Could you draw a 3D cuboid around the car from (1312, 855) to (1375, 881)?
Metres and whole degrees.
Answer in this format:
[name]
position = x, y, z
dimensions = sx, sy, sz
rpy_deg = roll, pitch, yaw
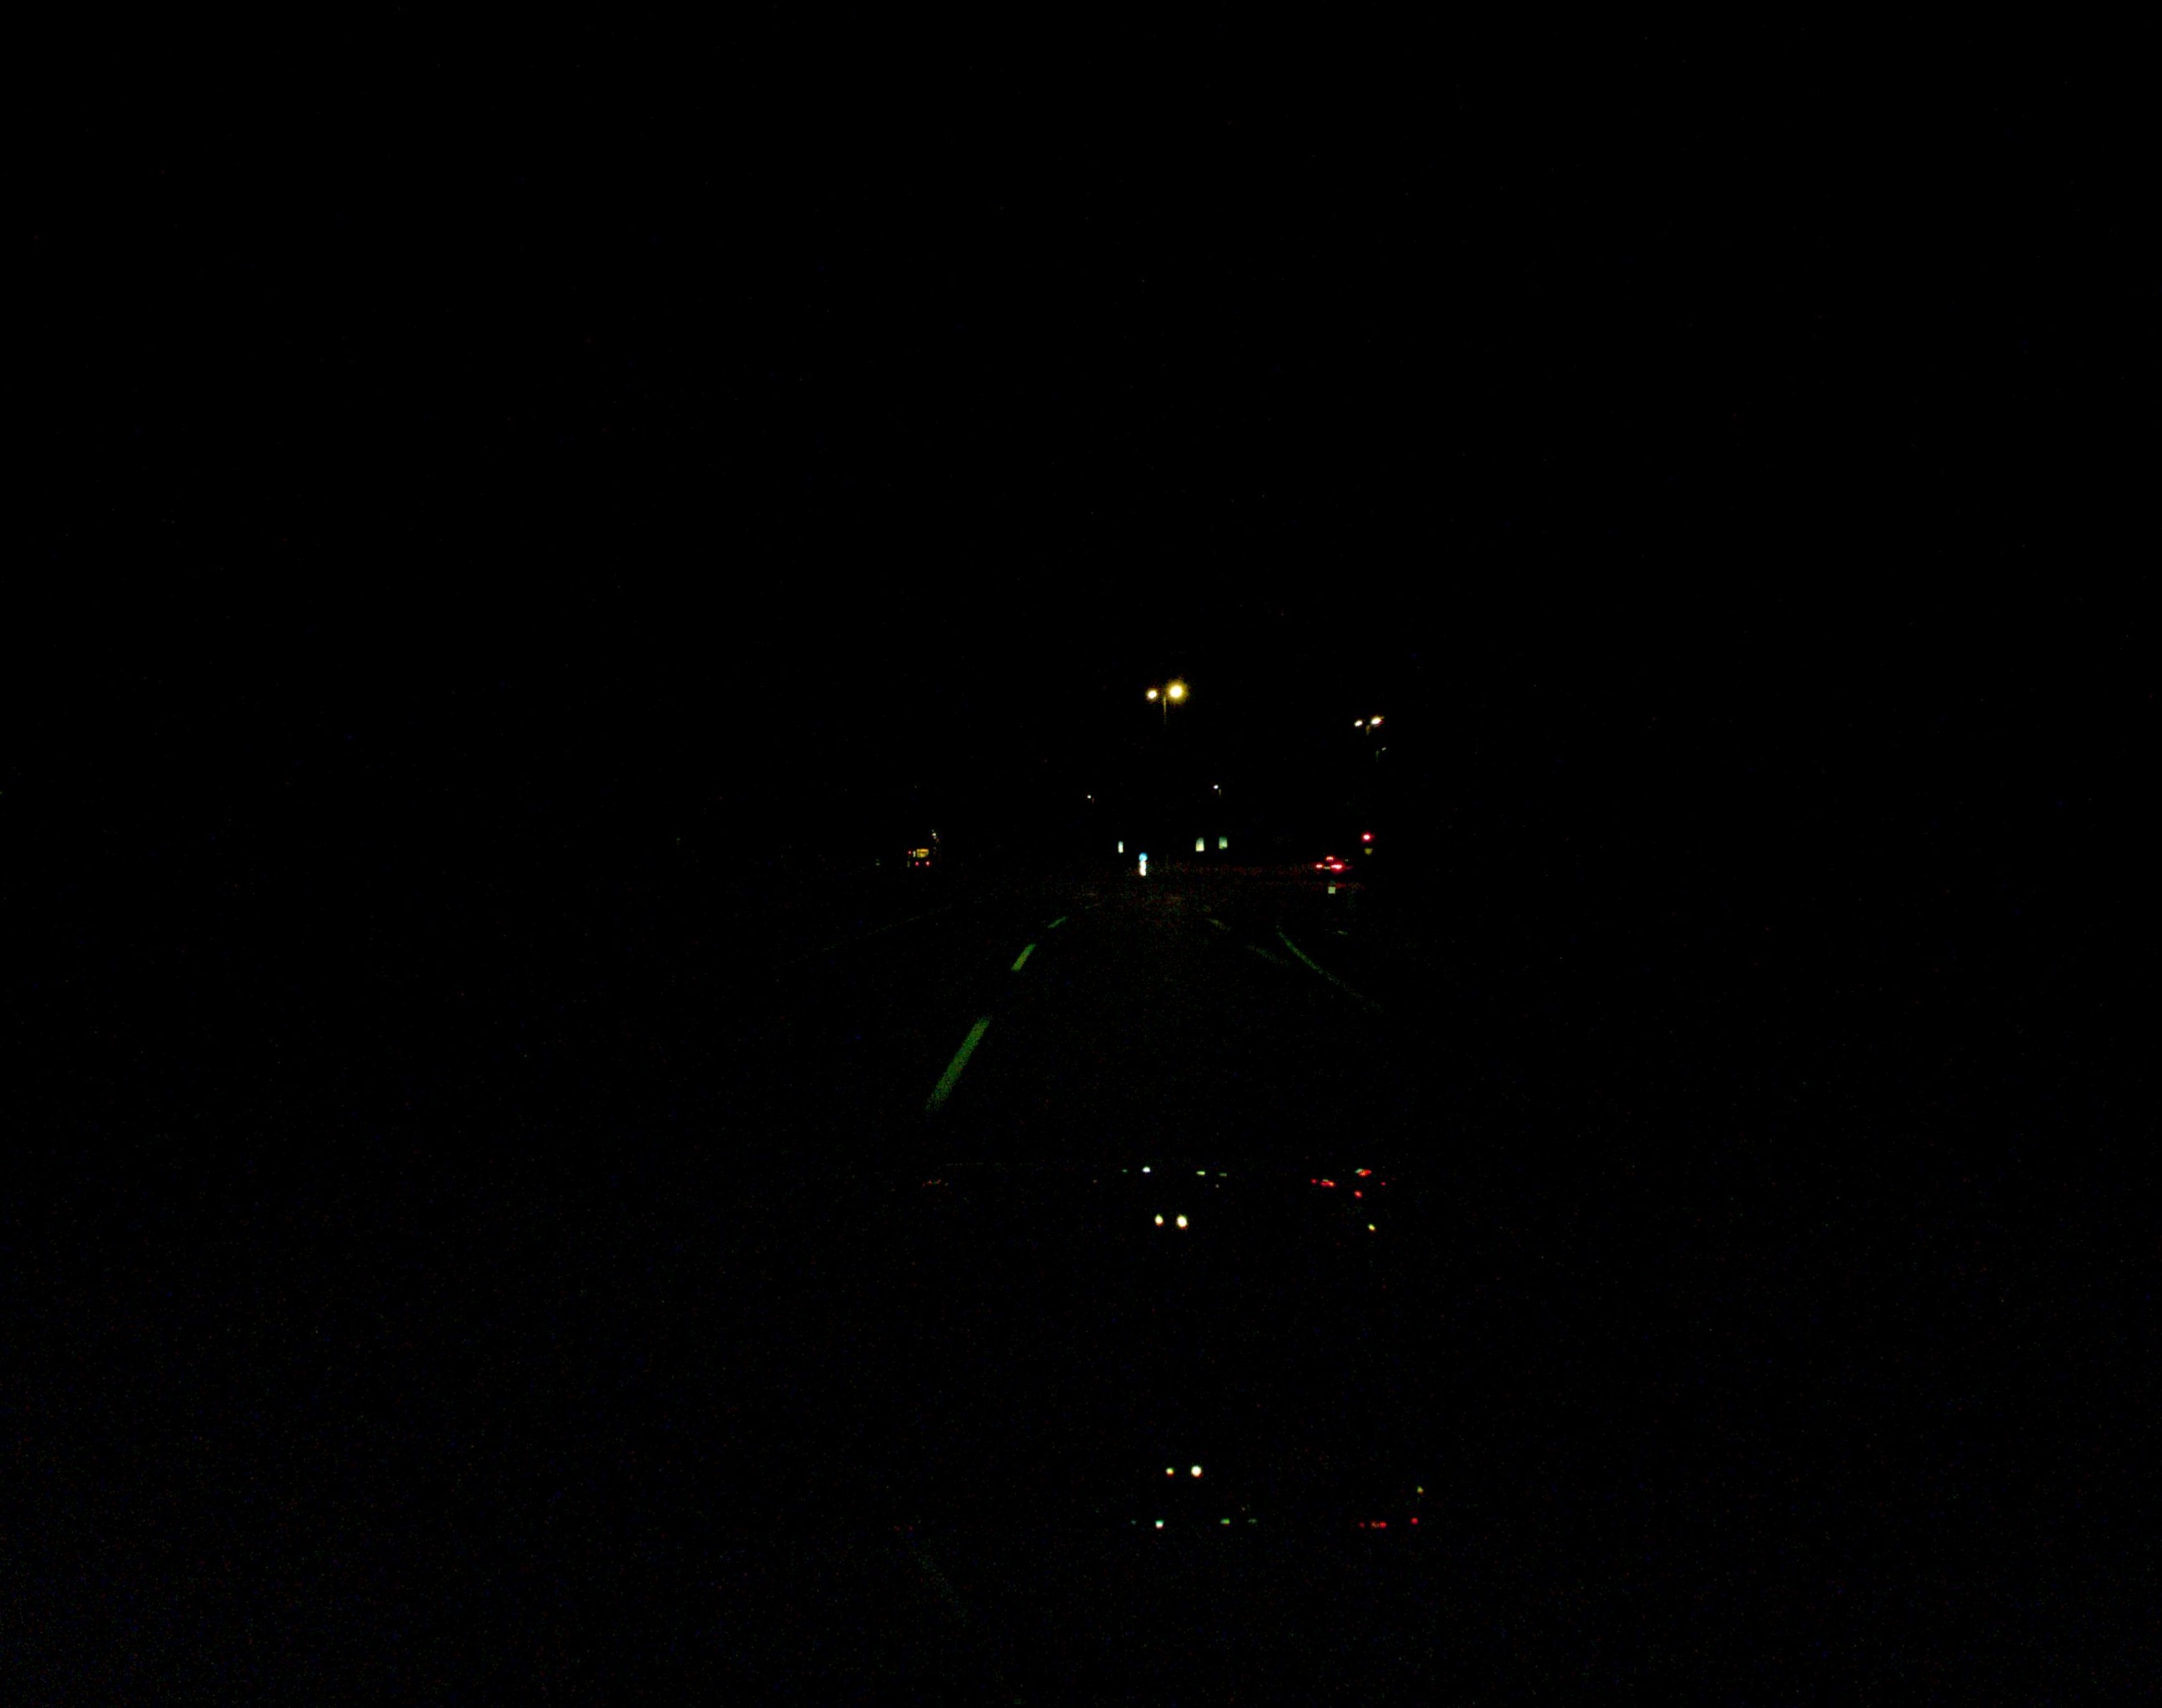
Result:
[car]
position = 16.802, 0.887, 52.101
dimensions = 4.025, 1.582, 1.837
rpy_deg = 1, 0, -37
